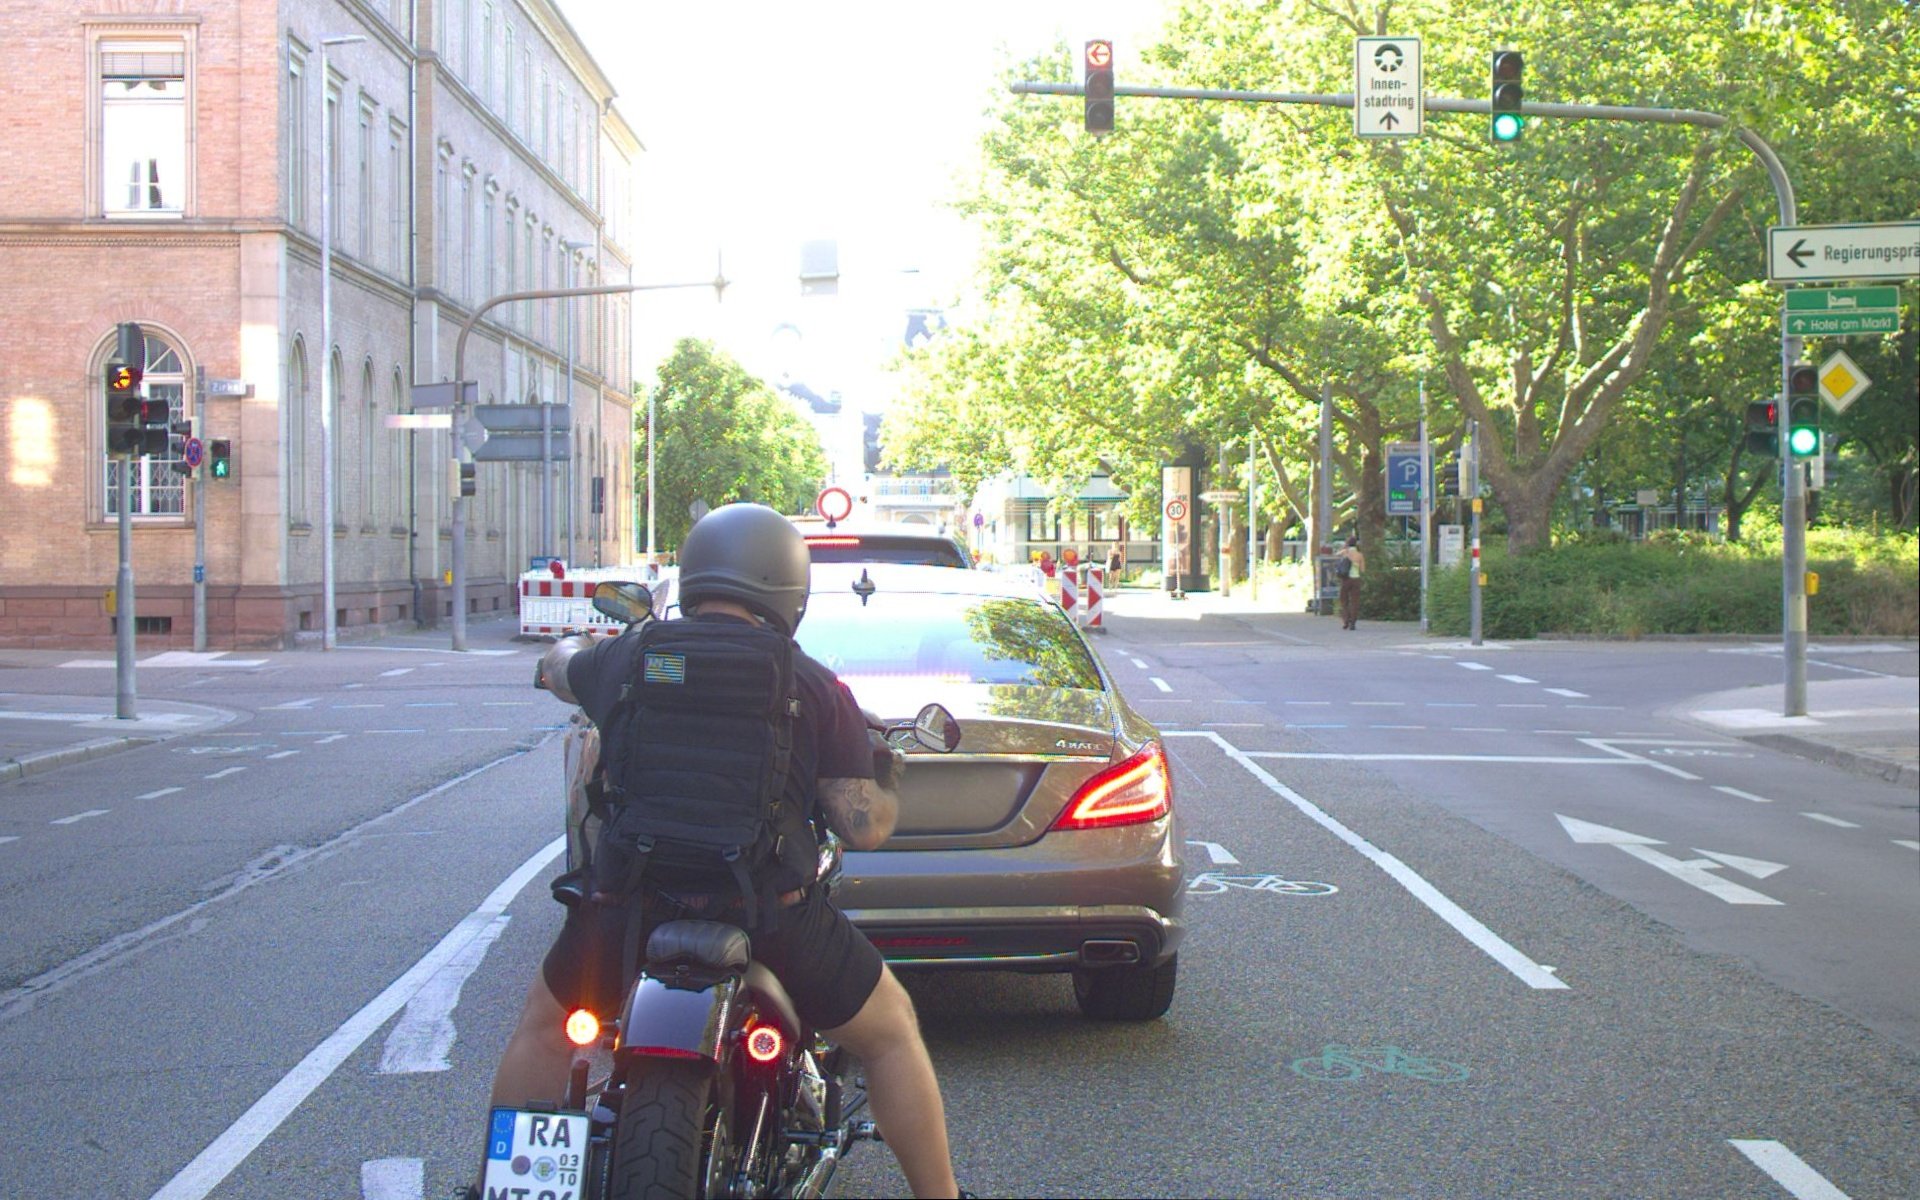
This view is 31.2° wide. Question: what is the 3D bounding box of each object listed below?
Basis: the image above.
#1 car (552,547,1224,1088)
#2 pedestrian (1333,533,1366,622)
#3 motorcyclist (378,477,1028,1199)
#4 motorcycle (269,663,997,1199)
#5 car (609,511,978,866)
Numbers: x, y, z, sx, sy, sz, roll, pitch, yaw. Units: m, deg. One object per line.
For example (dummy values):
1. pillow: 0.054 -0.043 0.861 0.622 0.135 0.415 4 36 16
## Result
1. car: -0.445 0.560 11.634 1.821 1.471 4.354 0 1 -7
2. pedestrian: 7.344 -0.419 64.865 0.559 1.672 0.565 0 1 -1
3. motorcyclist: -0.457 0.570 6.807 1.113 1.607 1.202 0 1 4
4. motorcycle: -0.519 0.778 6.885 1.007 1.200 2.665 0 1 4
5. car: -0.819 0.375 17.605 1.681 1.619 3.841 0 1 -2
